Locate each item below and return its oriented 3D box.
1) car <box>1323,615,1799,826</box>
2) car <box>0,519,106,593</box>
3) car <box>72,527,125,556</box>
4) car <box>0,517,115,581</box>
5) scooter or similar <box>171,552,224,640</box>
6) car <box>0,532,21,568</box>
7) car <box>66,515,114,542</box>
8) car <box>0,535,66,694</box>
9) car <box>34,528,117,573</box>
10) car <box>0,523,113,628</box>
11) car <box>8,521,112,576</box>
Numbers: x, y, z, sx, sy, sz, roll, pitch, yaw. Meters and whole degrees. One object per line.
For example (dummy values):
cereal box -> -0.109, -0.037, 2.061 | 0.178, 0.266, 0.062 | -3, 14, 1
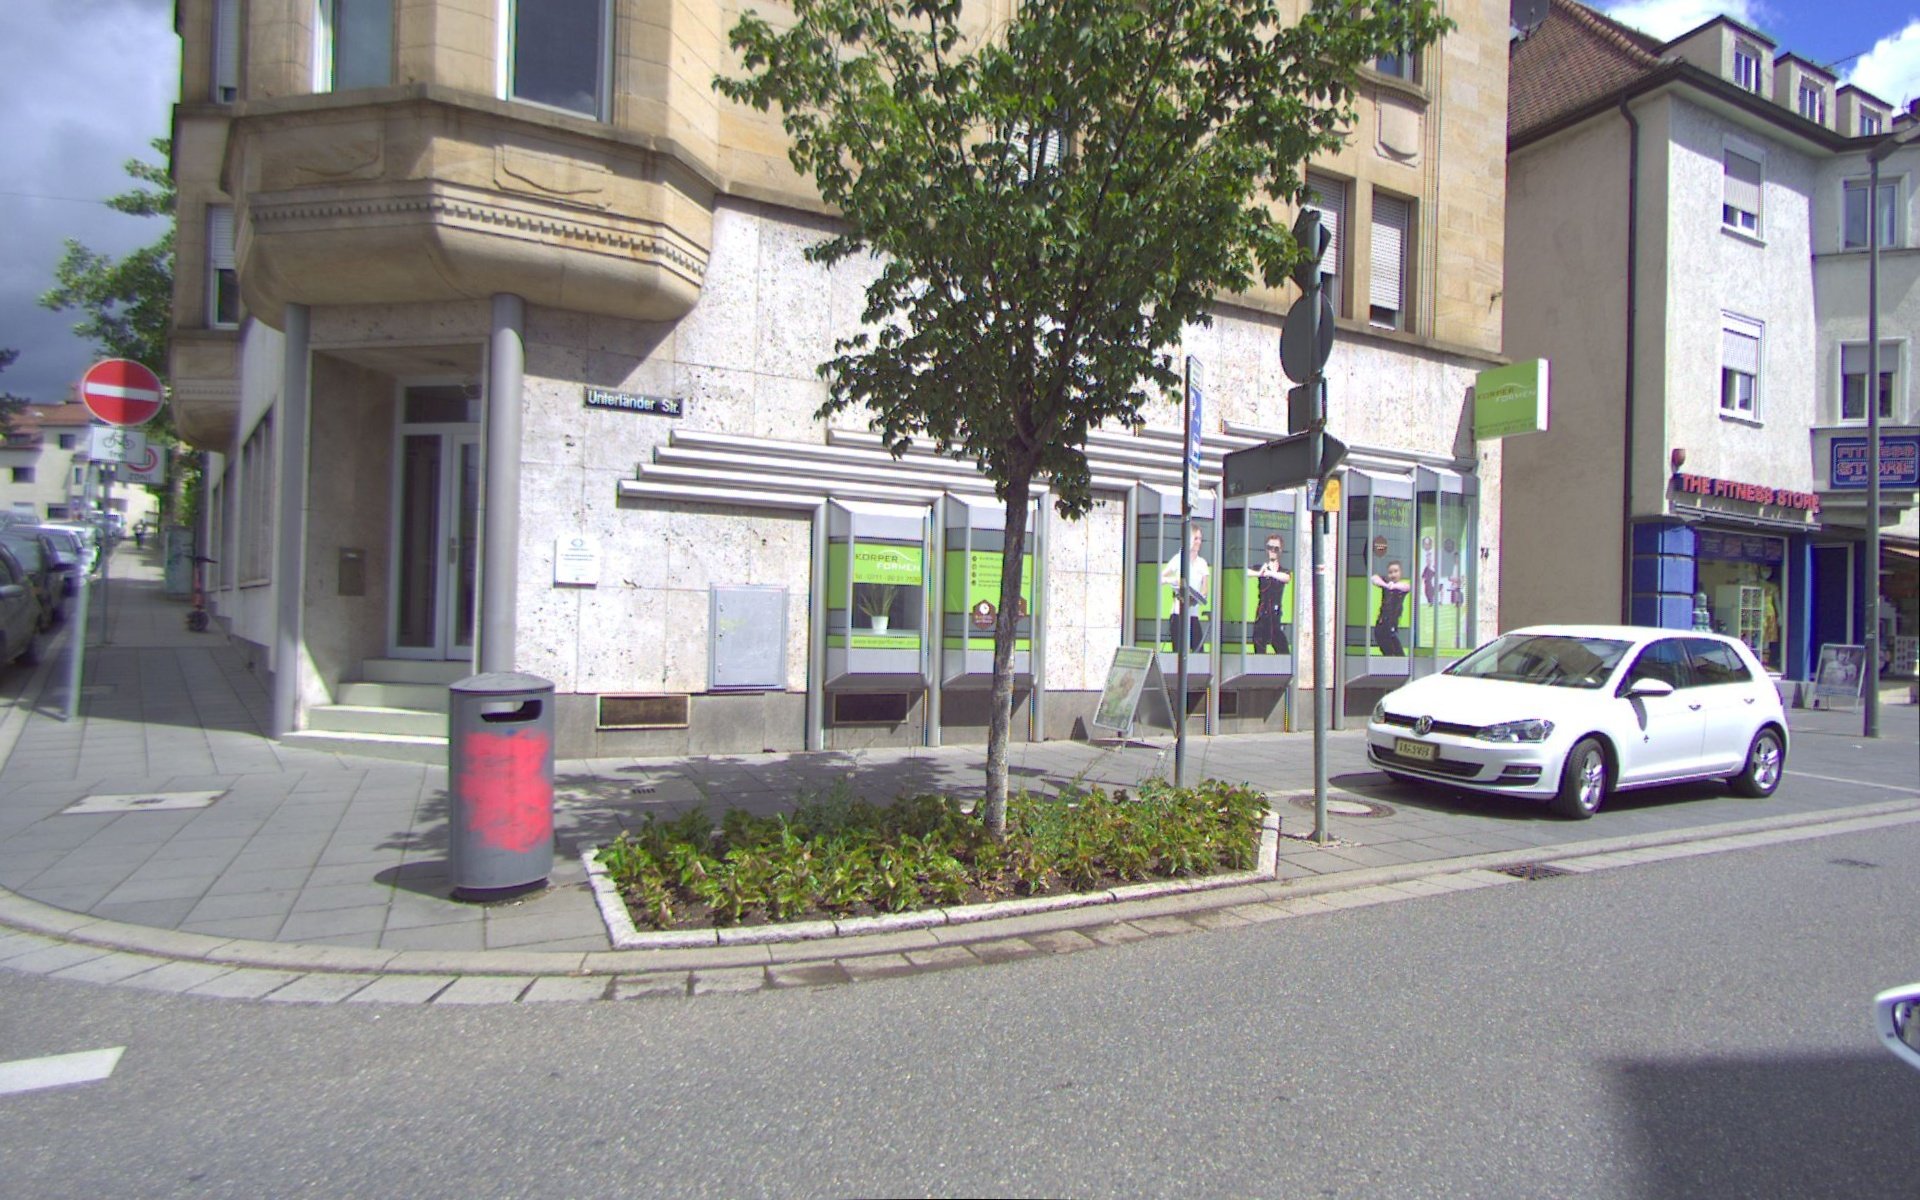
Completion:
car -> 5.341, 0.941, 8.861 | 3.988, 1.417, 1.837 | 3, 0, -29
car -> -22.256, -1.085, 24.301 | 1.981, 1.582, 4.176 | 2, 1, -35
car -> -52.288, -3.543, 61.009 | 1.981, 1.582, 4.176 | 2, 1, -35
car -> -25.874, -1.454, 28.881 | 1.981, 1.582, 4.176 | 2, 1, -35
scooter or similar -> -12.564, -0.088, 16.528 | 0.615, 1.373, 1.899 | 2, 1, -39
car -> -44.413, -2.362, 45.692 | 1.982, 1.582, 4.173 | 2, 1, -37
car -> -58.659, -4.789, 67.800 | 1.981, 1.582, 4.176 | 2, 1, -35
car -> -11.464, 0.041, 10.993 | 1.981, 1.582, 4.176 | 2, 1, -35
car -> -35.090, -1.950, 39.973 | 1.981, 1.582, 4.176 | 2, 1, -35
car -> -15.917, -0.481, 17.015 | 1.981, 1.582, 4.176 | 2, 1, -35
car -> -29.061, -1.659, 32.567 | 1.981, 1.582, 4.176 | 2, 1, -35
